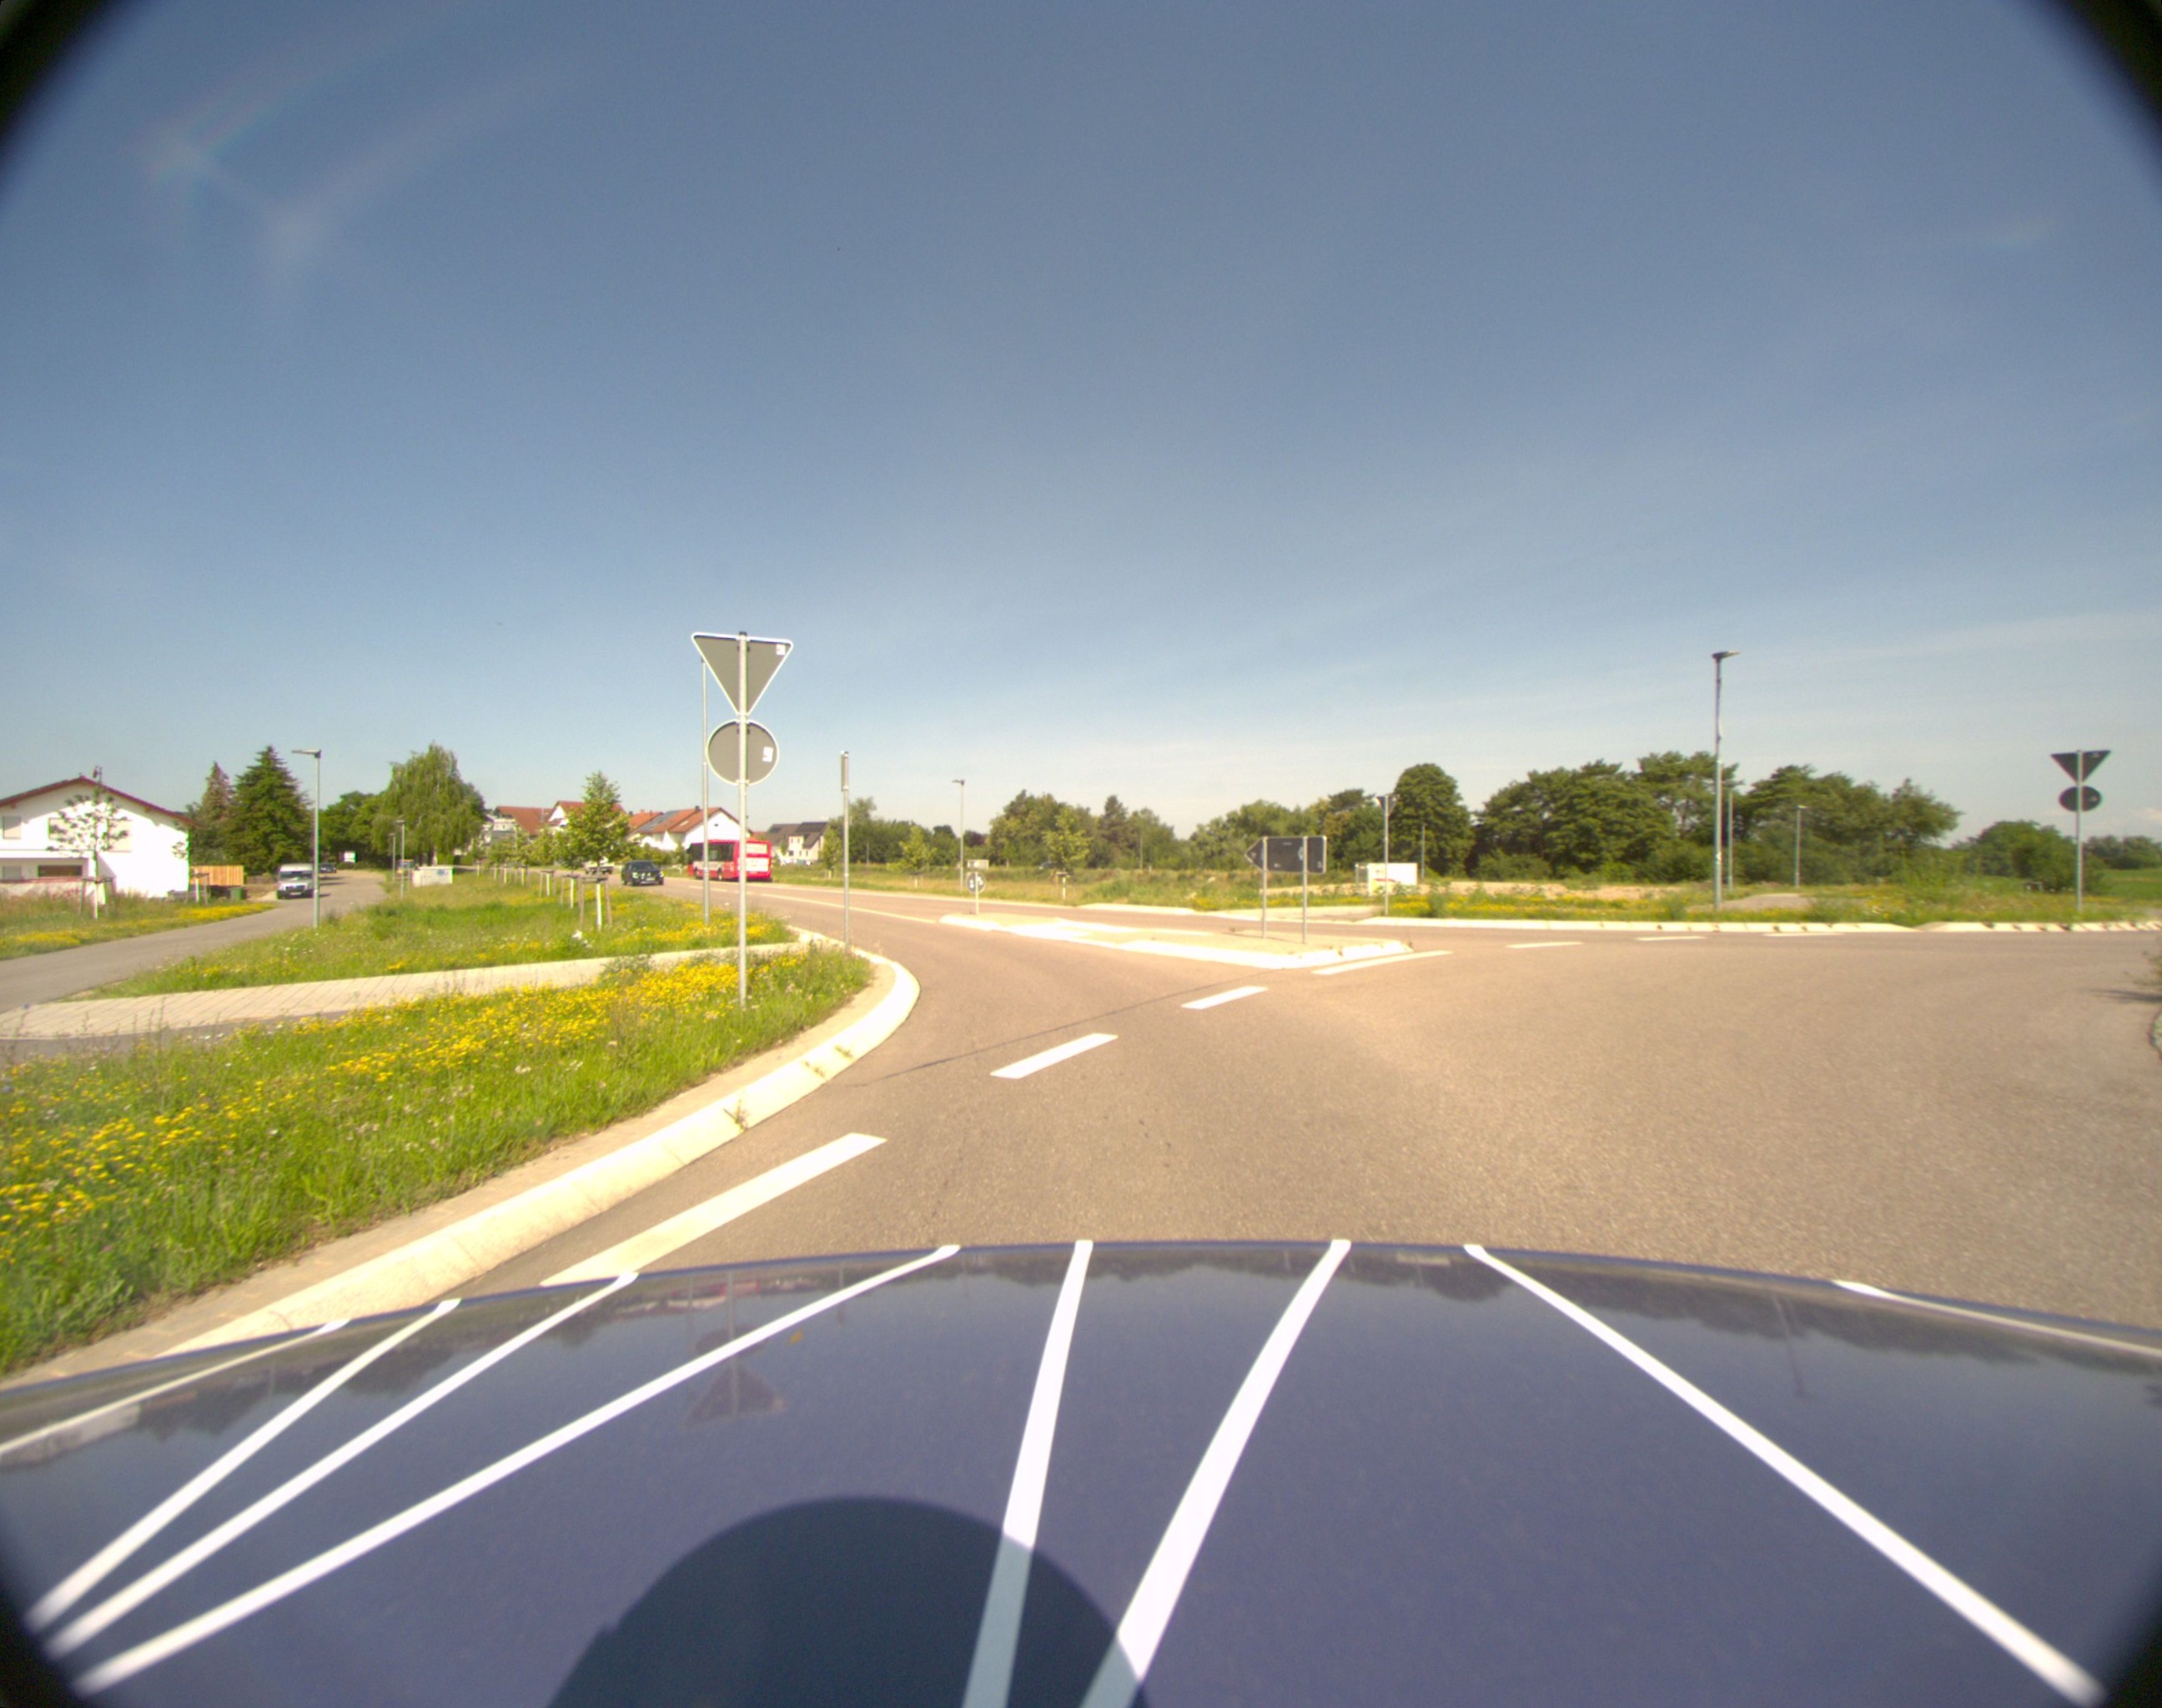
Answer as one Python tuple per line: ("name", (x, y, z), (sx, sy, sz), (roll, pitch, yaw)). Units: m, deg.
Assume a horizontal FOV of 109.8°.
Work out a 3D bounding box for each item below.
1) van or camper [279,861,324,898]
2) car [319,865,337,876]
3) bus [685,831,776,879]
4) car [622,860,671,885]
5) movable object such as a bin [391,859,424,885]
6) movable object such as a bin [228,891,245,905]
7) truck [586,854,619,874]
("van or camper", (-59.445, 1.866, 57.900), (6.013, 2.586, 2.183), (0, 2, 43))
("car", (-114.599, 2.474, 115.609), (4.156, 1.437, 1.868), (0, 3, 45))
("bus", (-26.652, 0.170, 57.372), (2.810, 3.267, 12.195), (1, -1, -41))
("car", (-28.821, 1.207, 50.309), (1.938, 1.552, 3.989), (-1, 0, -43))
("movable object such as a bin", (-70.323, 1.906, 79.344), (2.328, 2.449, 6.927), (-4, 1, -42))
("movable object such as a bin", (-59.735, 3.093, 53.756), (0.696, 0.932, 0.637), (-2, 1, -37))
("truck", (-50.346, 1.062, 79.895), (1.961, 1.973, 5.628), (-3, 2, -42))
